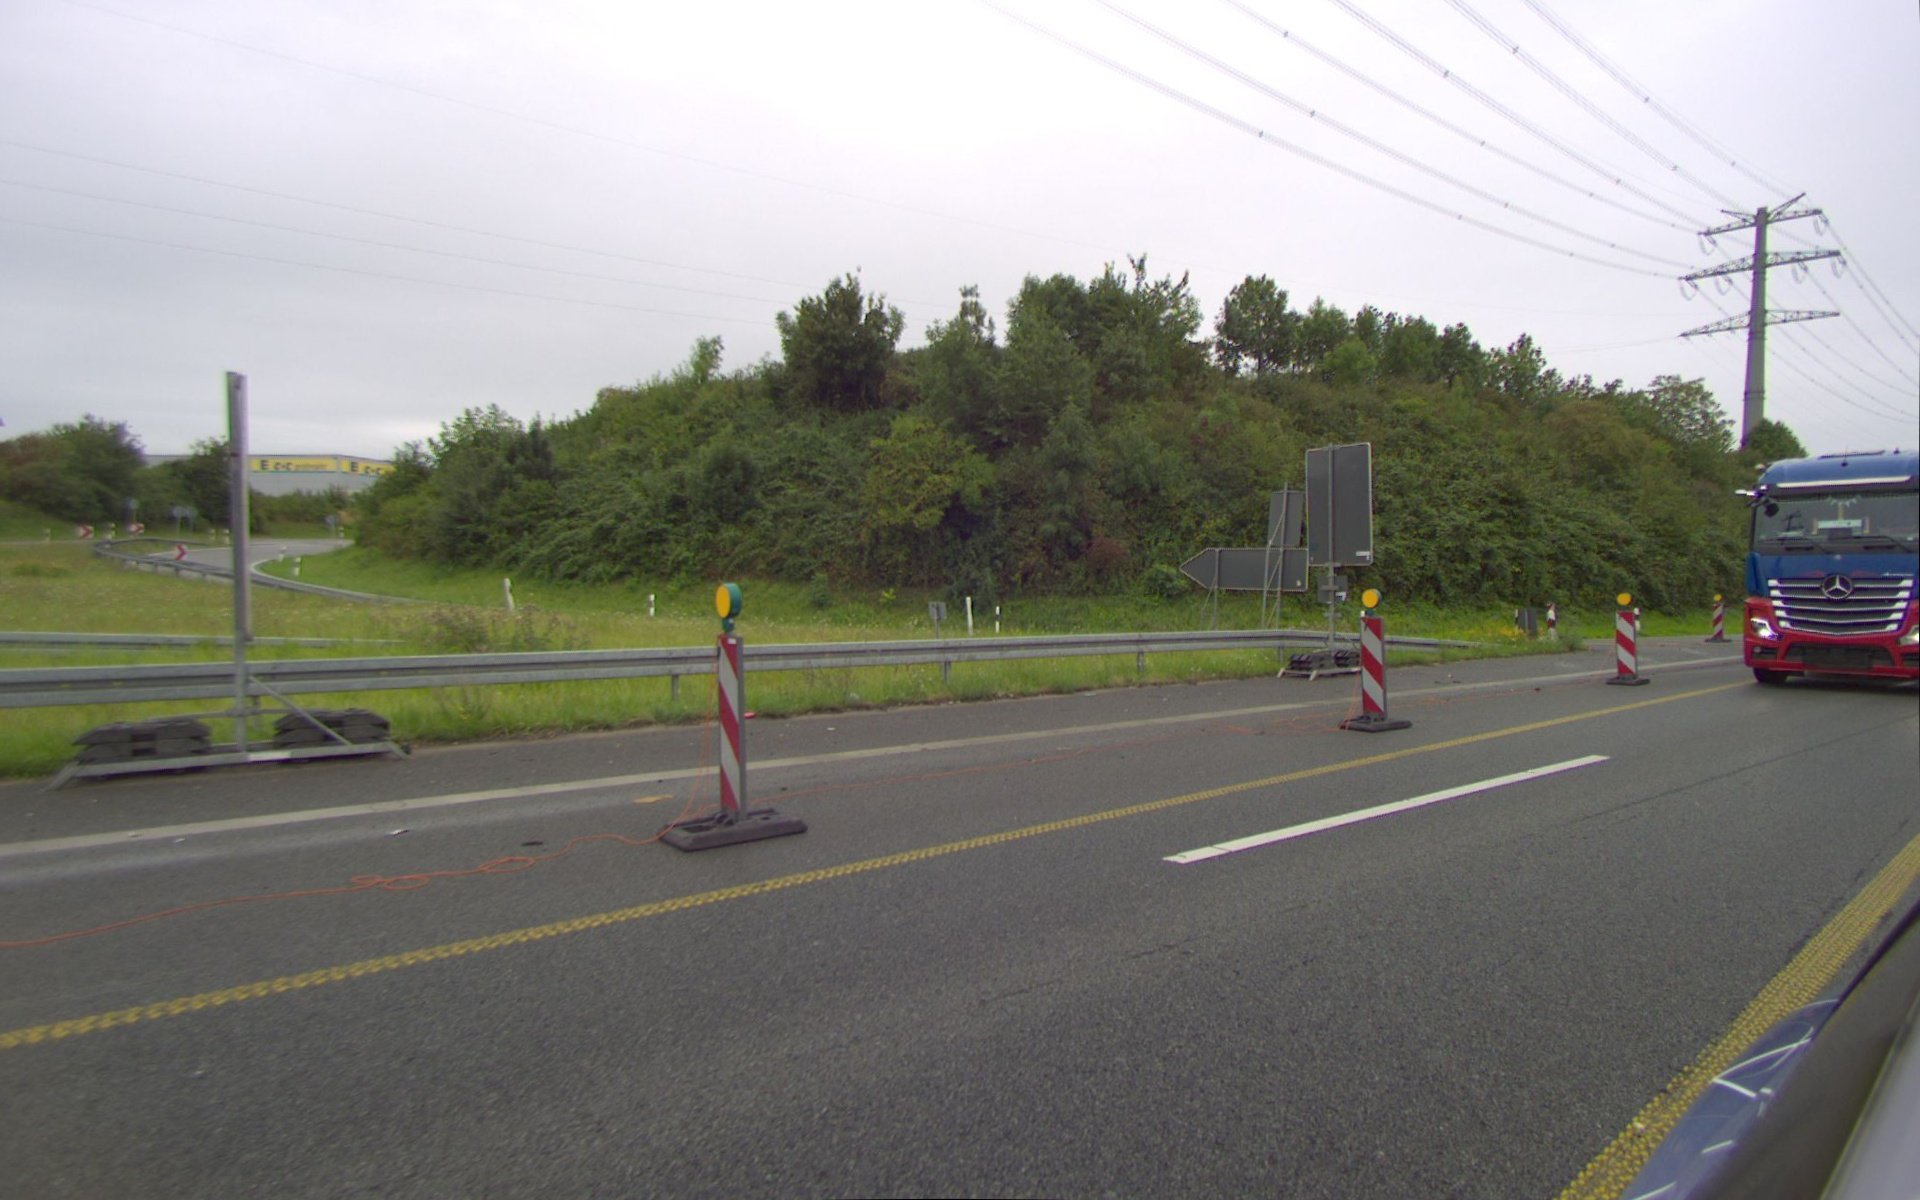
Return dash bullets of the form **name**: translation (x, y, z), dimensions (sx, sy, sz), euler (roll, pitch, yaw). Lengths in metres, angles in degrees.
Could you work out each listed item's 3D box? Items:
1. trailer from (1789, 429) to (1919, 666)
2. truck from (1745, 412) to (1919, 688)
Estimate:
- **trailer**: translation (20.152, -0.969, 20.675), dimensions (12.129, 3.882, 2.525), euler (-1, 1, -39)
- **truck**: translation (14.985, -0.762, 16.503), dimensions (3.927, 3.996, 2.554), euler (-1, 1, -38)
